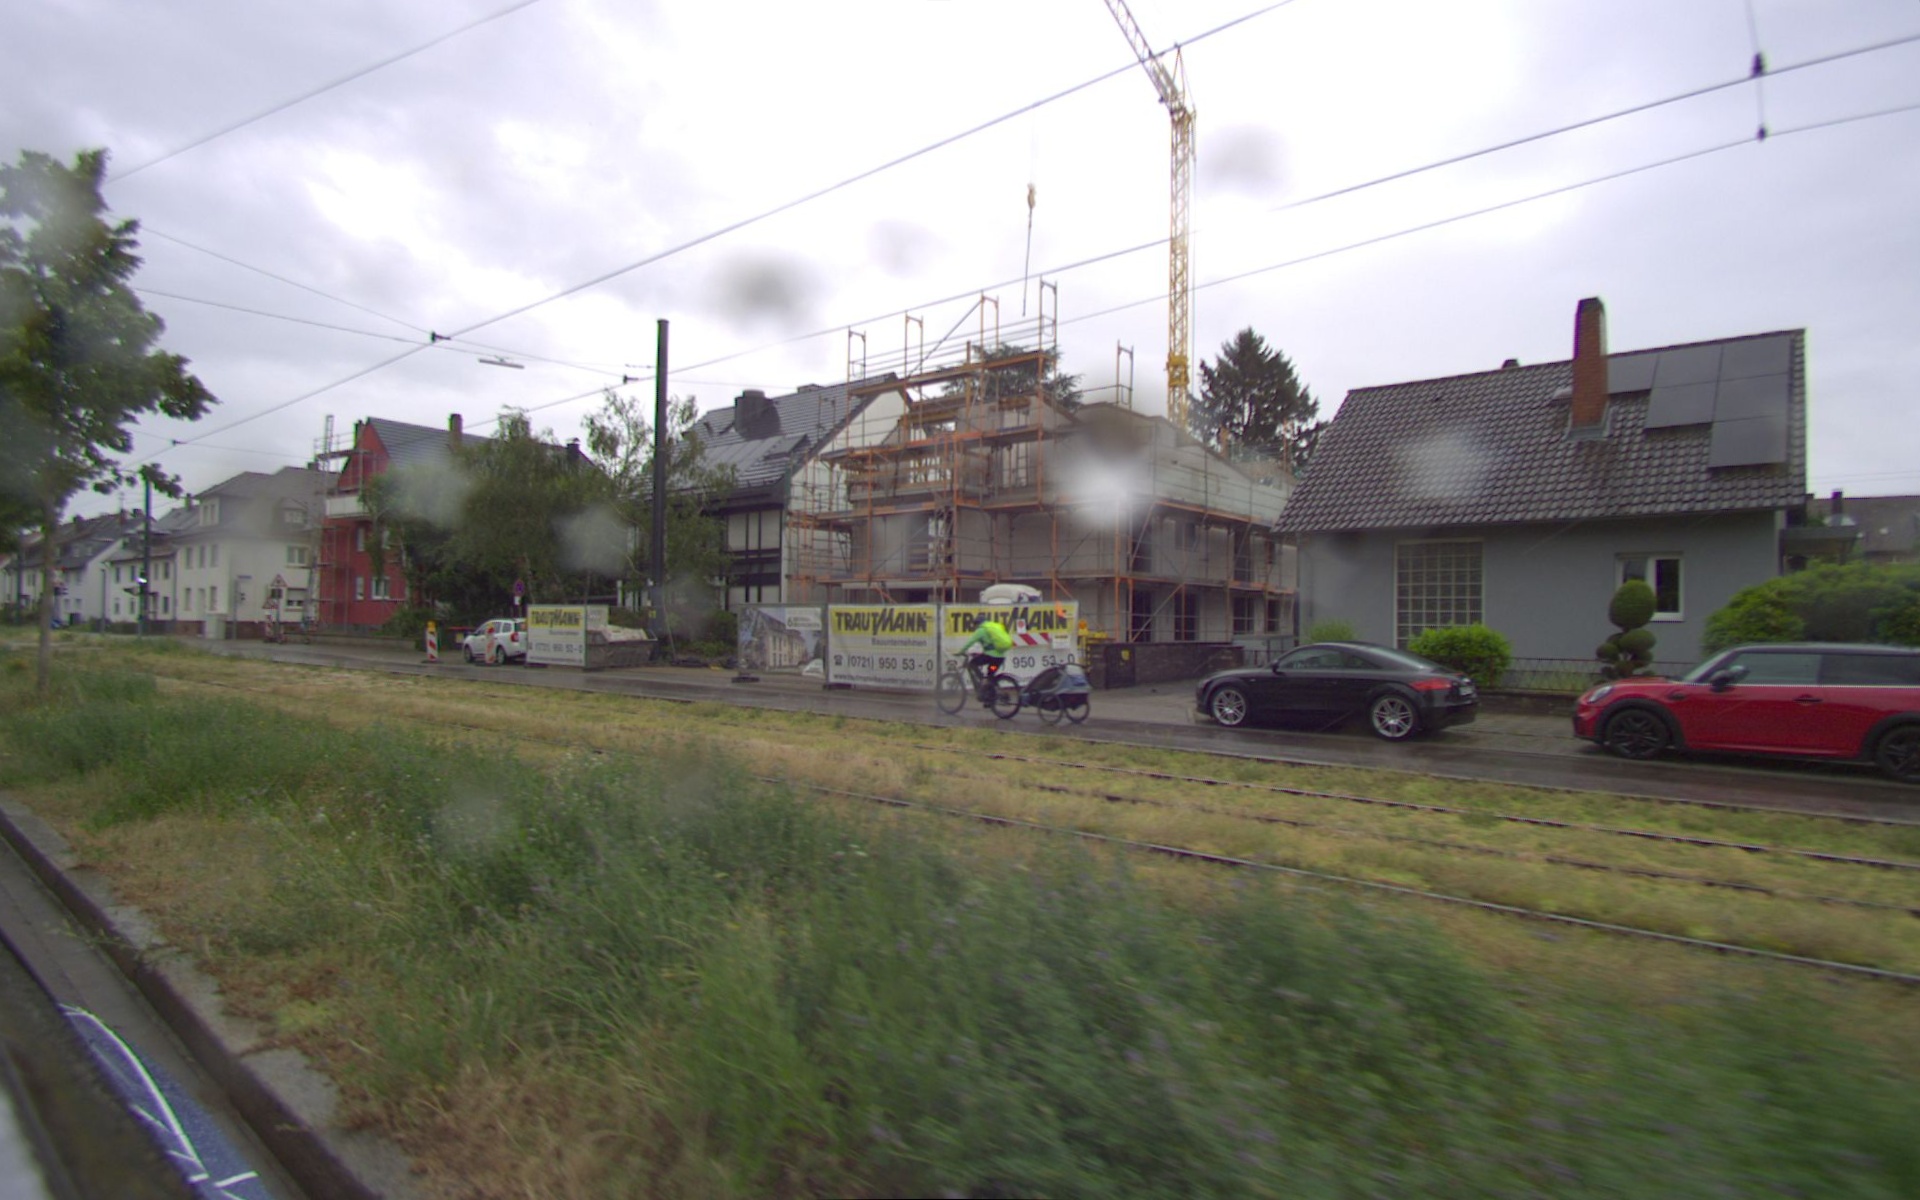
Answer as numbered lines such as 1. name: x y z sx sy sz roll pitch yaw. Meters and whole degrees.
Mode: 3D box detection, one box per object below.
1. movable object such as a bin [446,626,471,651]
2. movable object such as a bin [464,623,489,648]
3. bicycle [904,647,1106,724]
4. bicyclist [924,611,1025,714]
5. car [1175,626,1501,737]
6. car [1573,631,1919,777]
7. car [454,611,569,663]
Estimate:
1. movable object such as a bin: -23.414 1.786 47.248 0.821 1.156 0.802 0 0 41
2. movable object such as a bin: -22.876 1.681 47.876 0.821 1.156 0.802 0 0 41
3. bicycle: 0.660 1.338 16.493 3.431 1.051 0.925 0 -2 40
4. bicyclist: 0.242 1.000 16.812 1.399 1.596 0.943 1 0 41
5. car: 5.587 1.137 15.238 4.171 1.420 1.973 -2 -2 41
6. car: 9.618 1.125 11.919 3.841 1.383 1.973 1 0 41
7. car: -15.684 1.225 35.316 4.247 1.640 1.974 1 0 39
